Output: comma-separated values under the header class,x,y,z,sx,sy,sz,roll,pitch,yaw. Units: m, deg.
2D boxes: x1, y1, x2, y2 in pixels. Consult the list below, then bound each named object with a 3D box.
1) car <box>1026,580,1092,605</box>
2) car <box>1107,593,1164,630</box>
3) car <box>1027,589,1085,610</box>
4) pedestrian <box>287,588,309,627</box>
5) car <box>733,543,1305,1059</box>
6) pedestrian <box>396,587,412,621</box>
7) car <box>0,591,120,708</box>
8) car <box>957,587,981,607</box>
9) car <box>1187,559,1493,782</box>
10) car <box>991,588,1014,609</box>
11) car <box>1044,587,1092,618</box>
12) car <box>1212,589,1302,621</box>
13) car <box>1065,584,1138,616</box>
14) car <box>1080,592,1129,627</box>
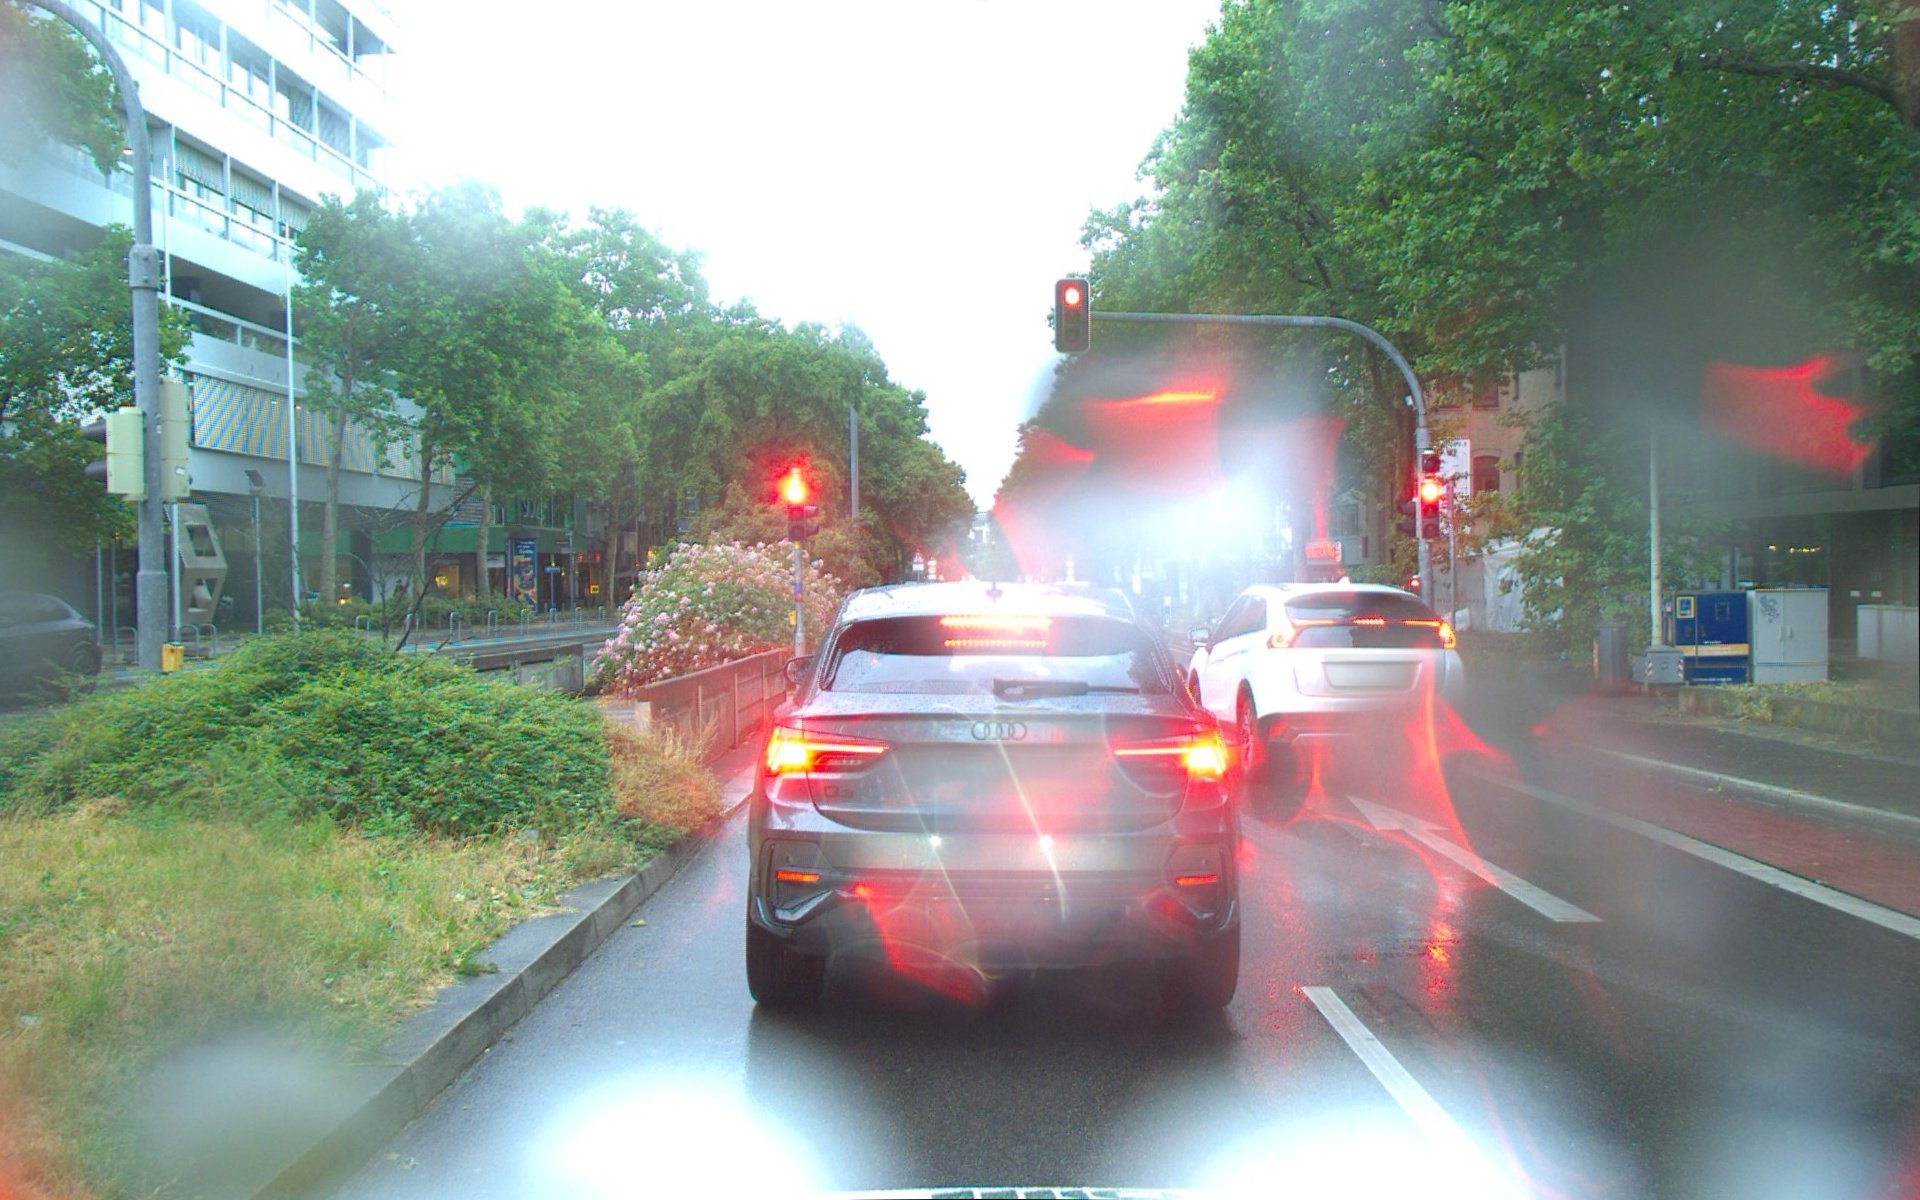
class,x,y,z,sx,sy,sz,roll,pitch,yaw
car,7.396,-0.567,123.739,4.549,1.736,1.997,1,-1,28
car,7.239,0.471,68.636,1.835,1.446,4.611,1,0,0
car,8.181,-0.033,140.827,4.549,1.736,1.997,1,-1,28
pedestrian,-24.068,0.262,60.158,0.626,1.404,0.473,1,-1,-12
car,0.161,0.633,7.246,1.812,1.630,3.999,0,0,-1
pedestrian,-24.596,0.183,73.184,0.599,1.508,0.573,1,-1,-12
car,-14.087,0.671,23.239,1.869,1.612,4.748,1,0,4
car,0.711,-0.225,135.662,1.857,1.627,3.938,1,0,-1
car,3.266,0.568,15.005,1.839,1.727,4.000,1,0,0
car,3.673,-0.121,143.187,1.952,1.680,4.000,1,0,0
car,6.442,0.145,99.007,1.957,1.757,3.991,1,0,-9
car,10.552,0.178,58.733,2.831,1.093,1.452,1,-1,31
car,9.363,-0.037,109.579,4.519,2.049,1.959,1,-1,39
car,6.907,0.447,79.596,1.693,1.599,4.070,1,0,-4
